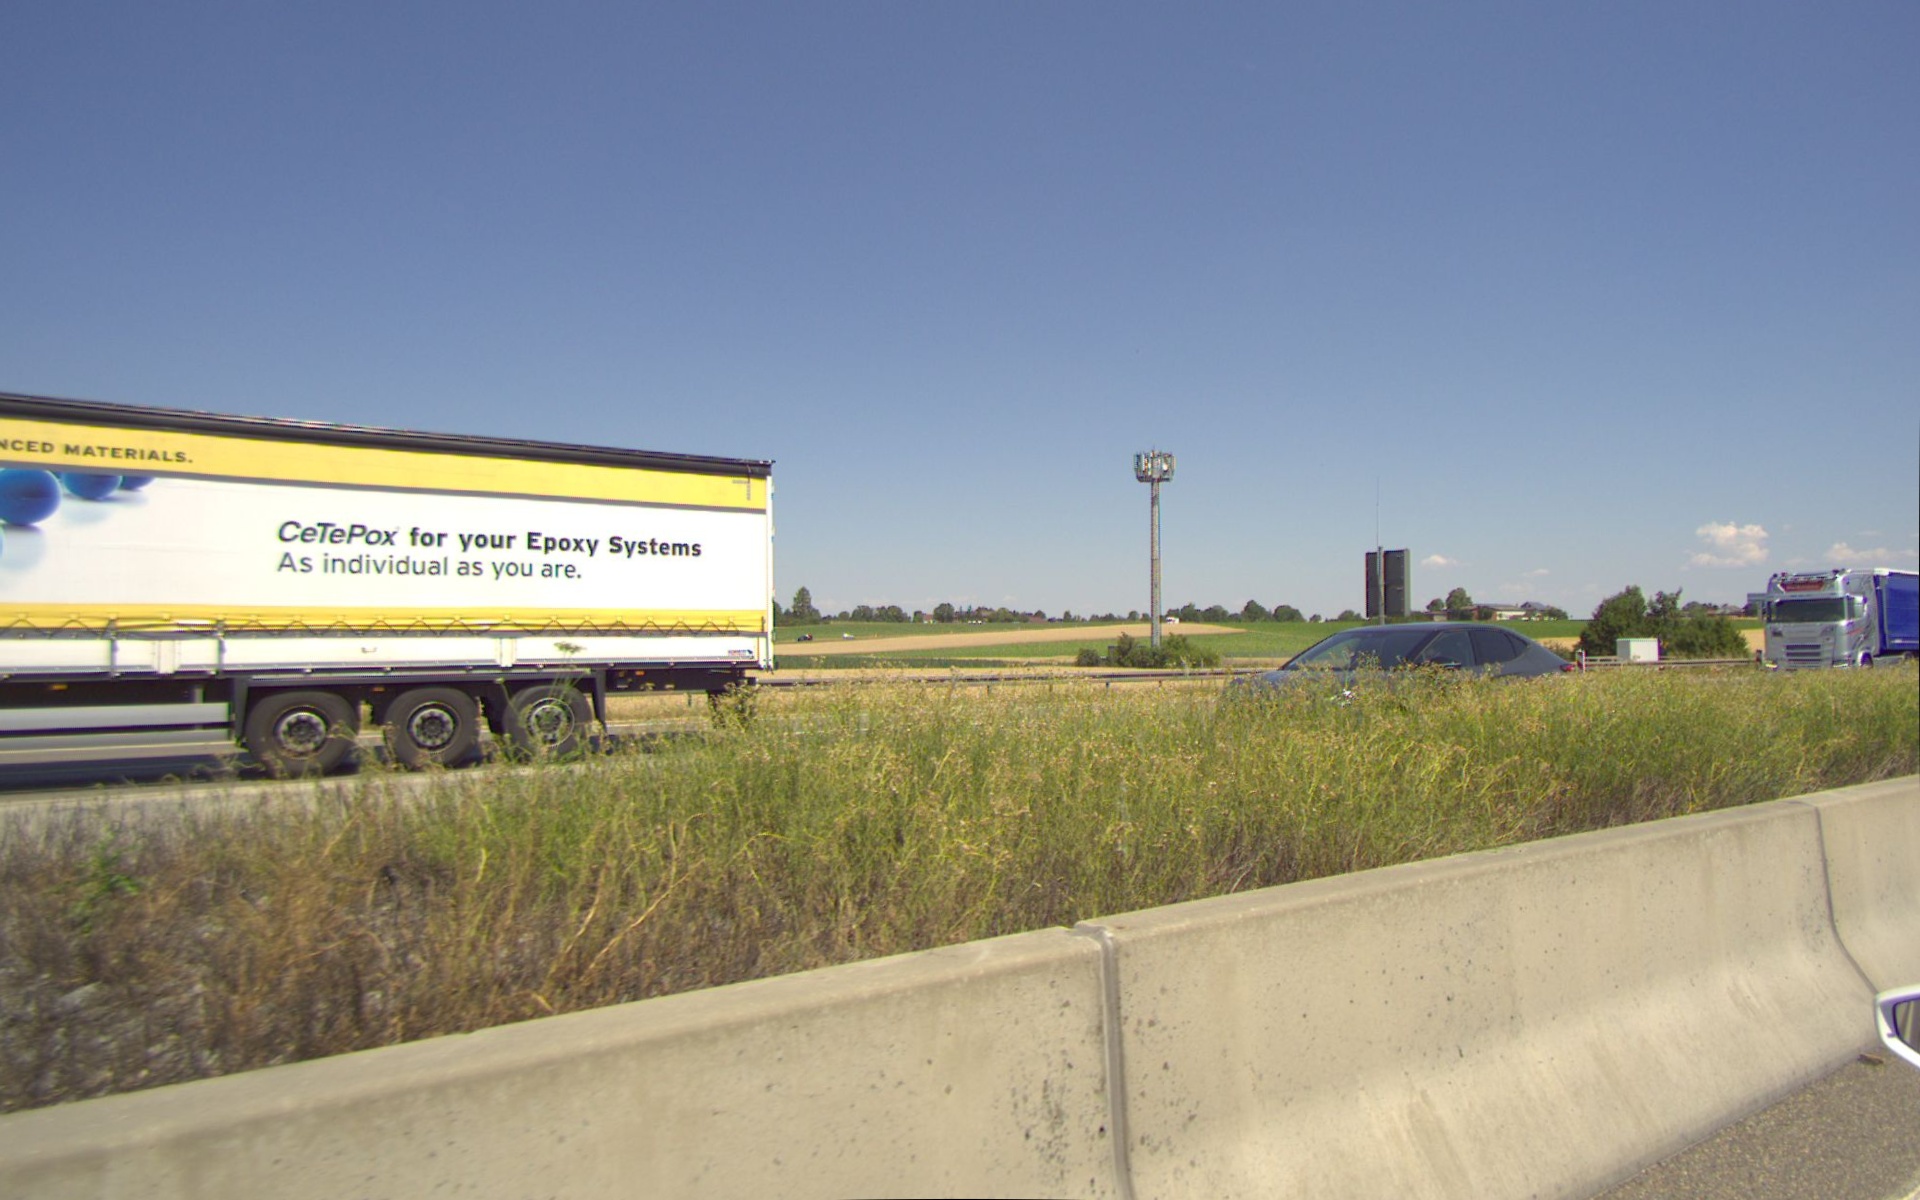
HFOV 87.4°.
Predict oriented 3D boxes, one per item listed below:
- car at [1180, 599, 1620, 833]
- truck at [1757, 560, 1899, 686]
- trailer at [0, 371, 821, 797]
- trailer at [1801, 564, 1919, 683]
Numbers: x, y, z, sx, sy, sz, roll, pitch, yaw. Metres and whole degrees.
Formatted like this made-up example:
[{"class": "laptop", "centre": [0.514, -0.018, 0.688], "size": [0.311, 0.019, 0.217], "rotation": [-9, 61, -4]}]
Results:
[{"class": "car", "centre": [4.785, 1.060, 10.795], "size": [4.629, 2.040, 1.985], "rotation": [1, -1, -30]}, {"class": "truck", "centre": [30.604, 0.828, 35.404], "size": [4.604, 4.140, 2.400], "rotation": [1, -2, -30]}, {"class": "trailer", "centre": [-8.662, -0.095, 11.935], "size": [13.967, 4.182, 2.796], "rotation": [1, -2, -31]}, {"class": "trailer", "centre": [37.665, 0.974, 39.527], "size": [13.930, 4.140, 2.375], "rotation": [1, -2, -30]}]
